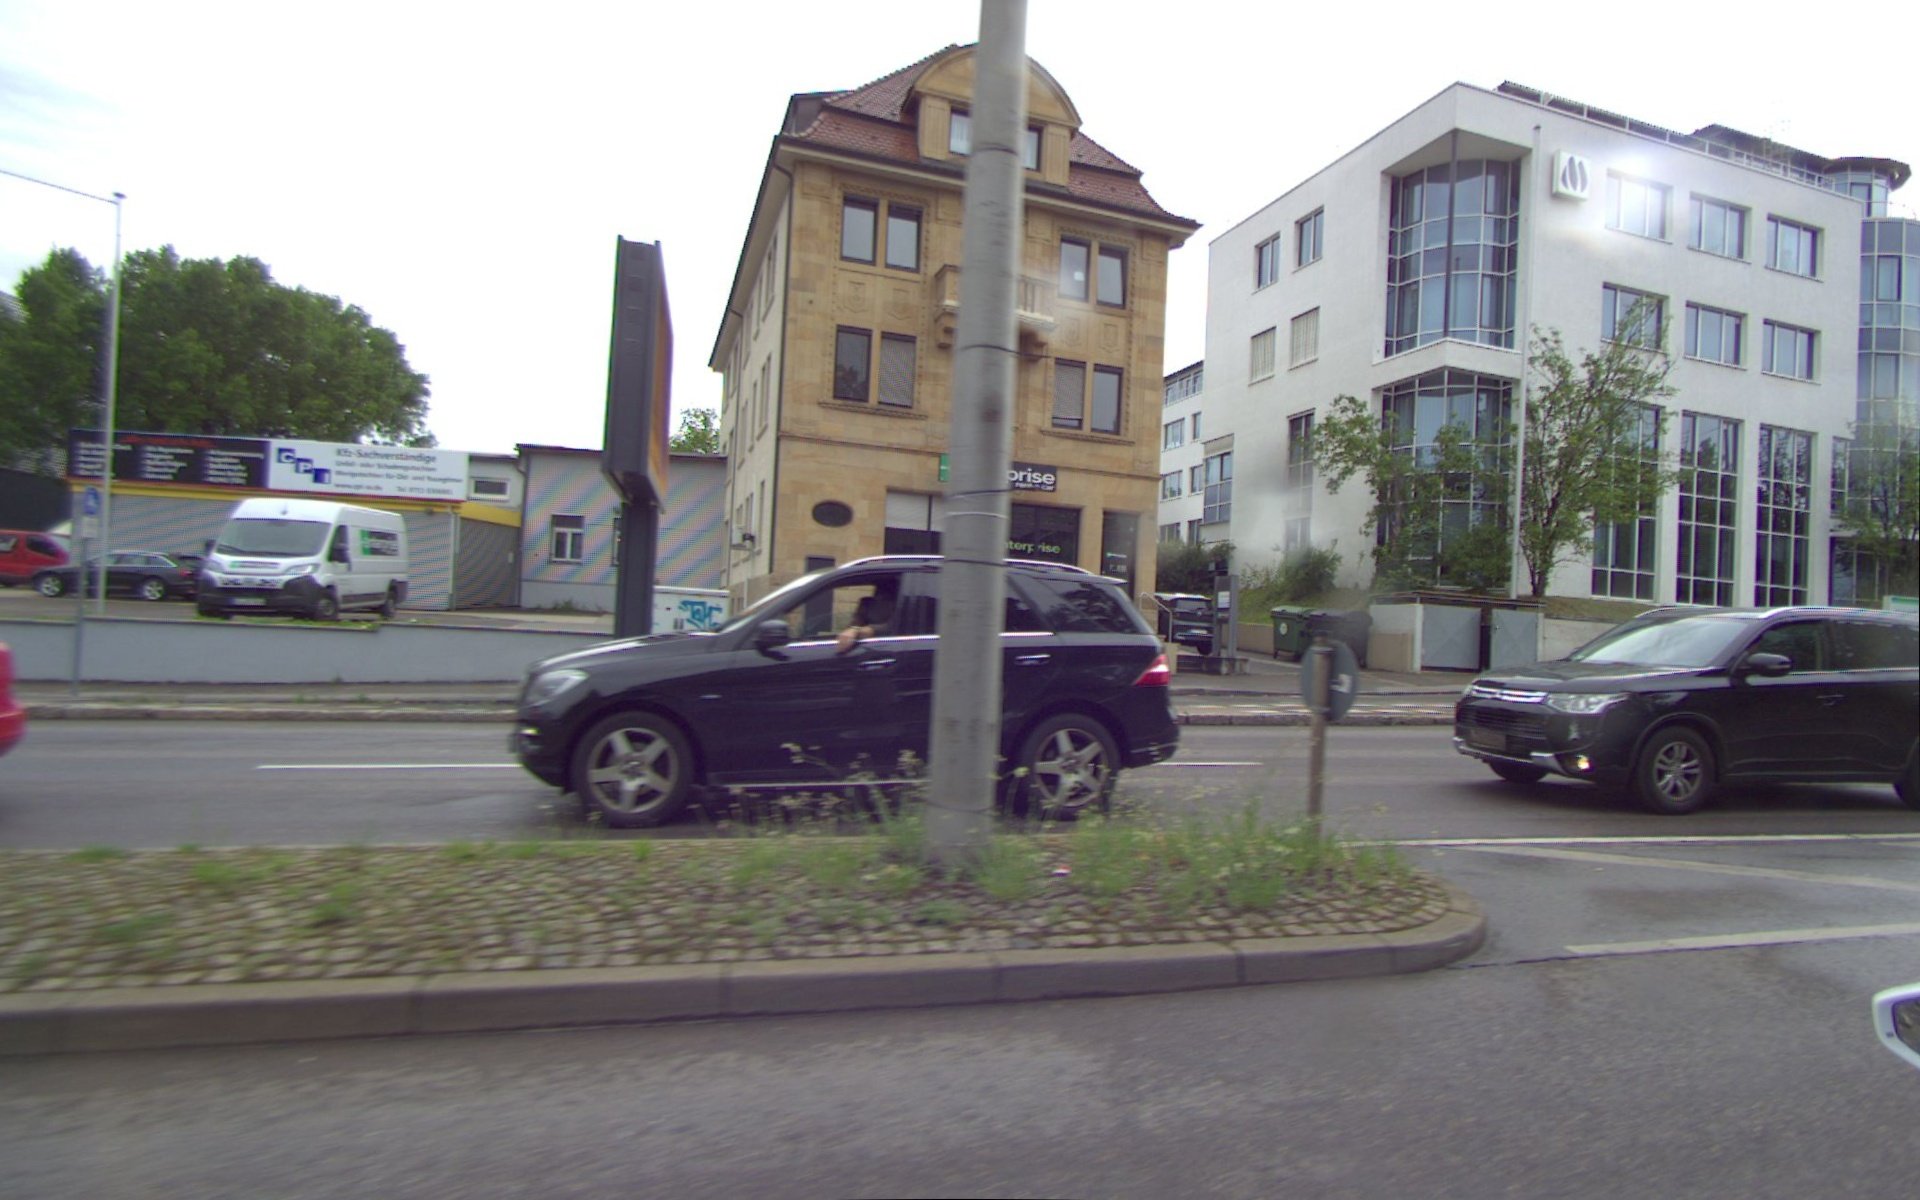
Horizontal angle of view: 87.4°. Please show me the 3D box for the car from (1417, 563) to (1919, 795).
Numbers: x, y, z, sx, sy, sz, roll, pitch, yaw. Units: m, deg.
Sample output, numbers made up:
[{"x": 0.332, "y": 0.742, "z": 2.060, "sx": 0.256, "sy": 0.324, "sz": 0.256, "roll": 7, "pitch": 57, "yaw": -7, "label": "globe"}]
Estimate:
[{"x": 6.545, "y": 0.706, "z": 8.679, "sx": 4.649, "sy": 1.625, "sz": 1.689, "roll": 4, "pitch": -2, "yaw": -14, "label": "car"}]

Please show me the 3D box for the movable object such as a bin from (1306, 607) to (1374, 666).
[{"x": 9.573, "y": 0.900, "z": 25.345, "sx": 1.081, "sy": 1.425, "sz": 1.185, "roll": 1, "pitch": 1, "yaw": -18, "label": "movable object such as a bin"}]

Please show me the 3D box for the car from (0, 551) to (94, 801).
[{"x": -8.024, "y": 0.338, "z": 5.615, "sx": 4.367, "sy": 1.551, "sz": 1.807, "roll": 4, "pitch": -2, "yaw": -14, "label": "car"}]

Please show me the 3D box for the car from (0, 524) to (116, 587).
[{"x": -31.715, "y": -1.549, "z": 34.141, "sx": 4.231, "sy": 1.885, "sz": 1.739, "roll": 4, "pitch": -2, "yaw": -7, "label": "car"}]

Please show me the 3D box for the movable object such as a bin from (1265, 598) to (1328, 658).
[{"x": 9.073, "y": 0.743, "z": 27.153, "sx": 1.025, "sy": 1.561, "sz": 1.243, "roll": 3, "pitch": -1, "yaw": -19, "label": "movable object such as a bin"}]

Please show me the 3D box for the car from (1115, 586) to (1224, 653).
[{"x": 5.902, "y": 0.549, "z": 28.578, "sx": 1.689, "sy": 1.697, "sz": 3.041, "roll": 4, "pitch": -2, "yaw": -18, "label": "car"}]

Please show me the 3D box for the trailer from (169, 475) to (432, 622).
[{"x": -13.568, "y": -0.843, "z": 21.427, "sx": 2.355, "sy": 2.460, "sz": 7.100, "roll": 4, "pitch": -2, "yaw": -14, "label": "trailer"}]

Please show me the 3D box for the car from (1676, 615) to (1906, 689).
[{"x": 18.540, "y": 1.126, "z": 22.434, "sx": 4.595, "sy": 1.554, "sz": 1.688, "roll": 1, "pitch": -1, "yaw": -16, "label": "car"}]

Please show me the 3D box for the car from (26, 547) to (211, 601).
[{"x": -25.257, "y": -0.765, "z": 30.242, "sx": 4.257, "sy": 1.425, "sz": 1.373, "roll": 2, "pitch": -2, "yaw": -3, "label": "car"}]

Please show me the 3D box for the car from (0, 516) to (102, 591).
[{"x": -34.806, "y": -1.763, "z": 37.409, "sx": 3.913, "sy": 2.530, "sz": 1.652, "roll": 3, "pitch": -2, "yaw": -7, "label": "car"}]

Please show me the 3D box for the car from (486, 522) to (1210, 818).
[{"x": -0.728, "y": 0.494, "z": 7.314, "sx": 4.546, "sy": 1.719, "sz": 1.956, "roll": 2, "pitch": -1, "yaw": -13, "label": "car"}]
